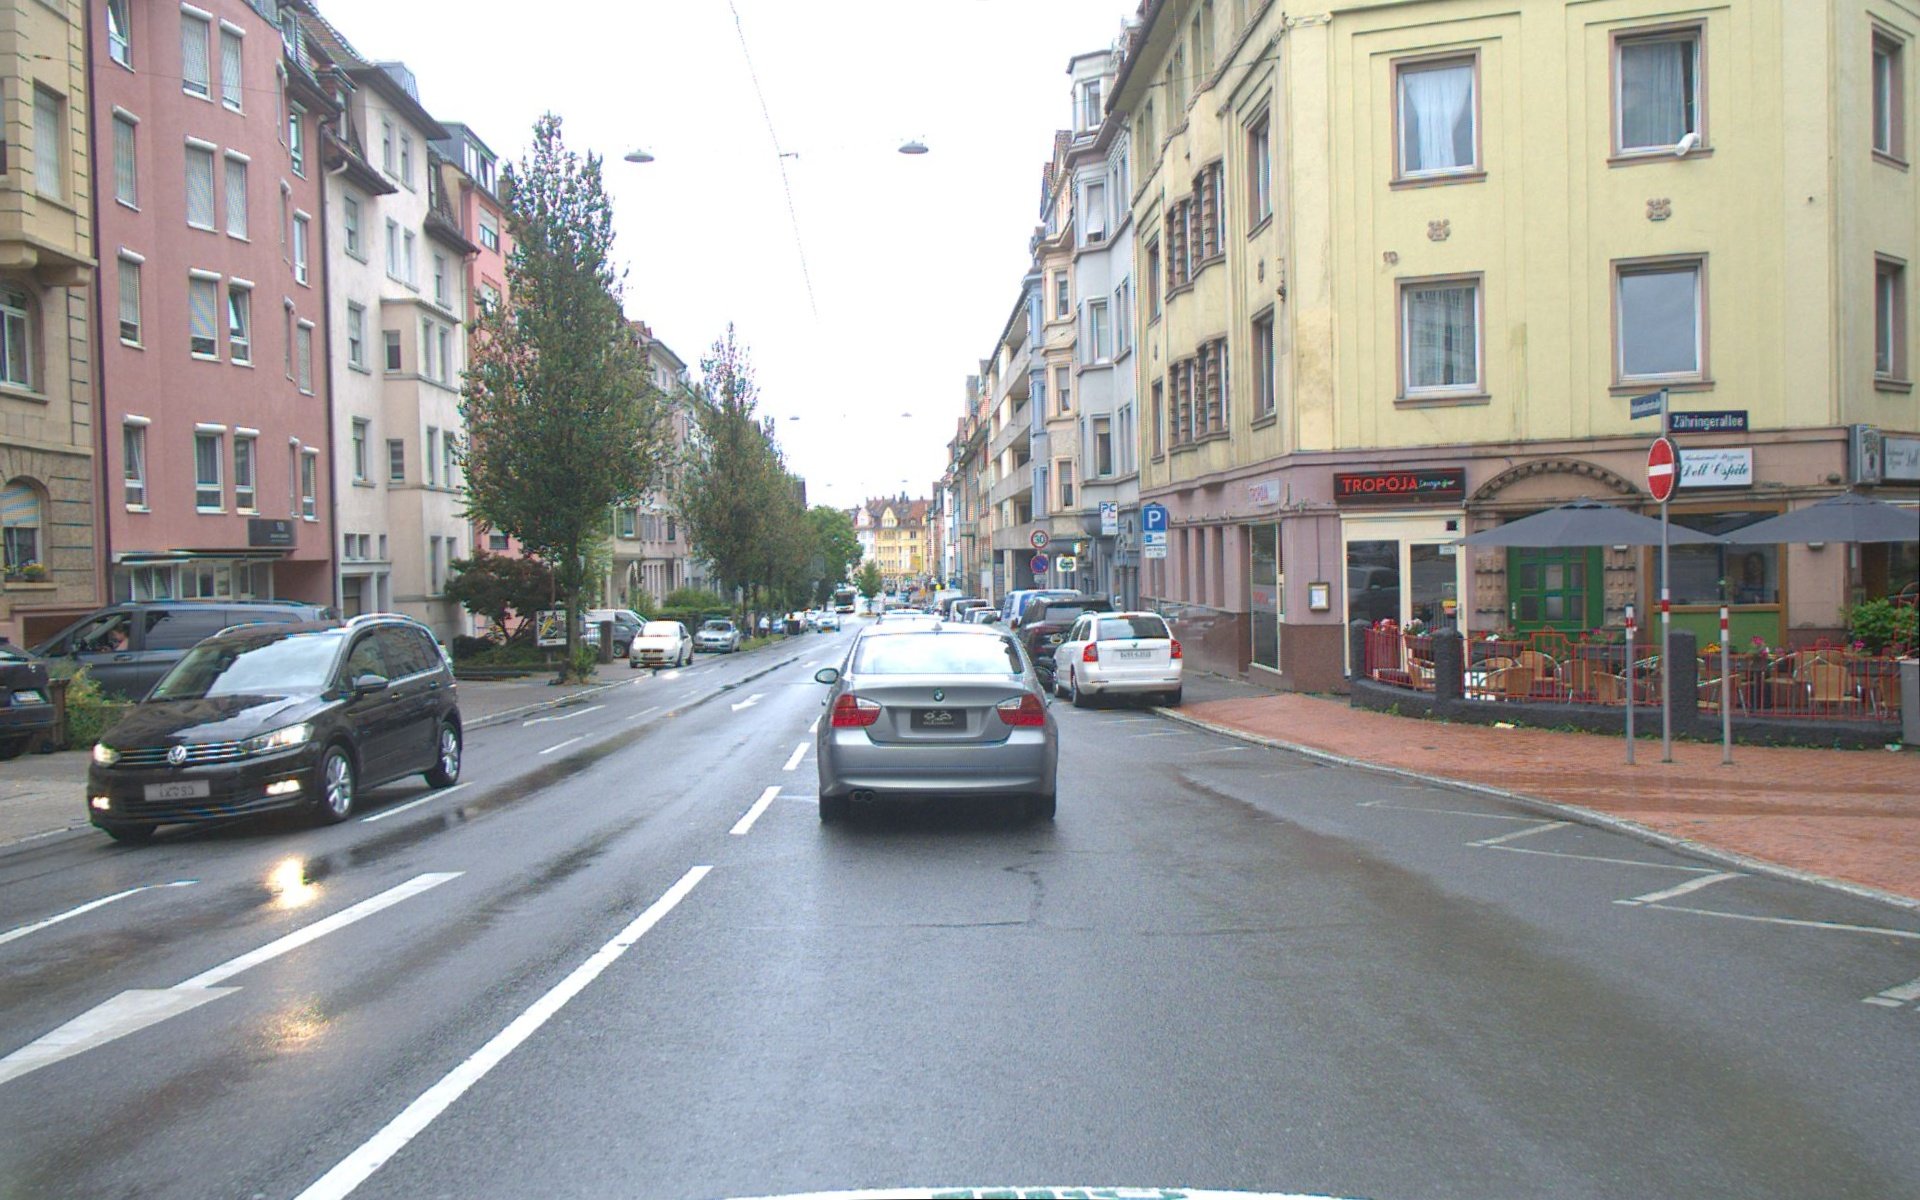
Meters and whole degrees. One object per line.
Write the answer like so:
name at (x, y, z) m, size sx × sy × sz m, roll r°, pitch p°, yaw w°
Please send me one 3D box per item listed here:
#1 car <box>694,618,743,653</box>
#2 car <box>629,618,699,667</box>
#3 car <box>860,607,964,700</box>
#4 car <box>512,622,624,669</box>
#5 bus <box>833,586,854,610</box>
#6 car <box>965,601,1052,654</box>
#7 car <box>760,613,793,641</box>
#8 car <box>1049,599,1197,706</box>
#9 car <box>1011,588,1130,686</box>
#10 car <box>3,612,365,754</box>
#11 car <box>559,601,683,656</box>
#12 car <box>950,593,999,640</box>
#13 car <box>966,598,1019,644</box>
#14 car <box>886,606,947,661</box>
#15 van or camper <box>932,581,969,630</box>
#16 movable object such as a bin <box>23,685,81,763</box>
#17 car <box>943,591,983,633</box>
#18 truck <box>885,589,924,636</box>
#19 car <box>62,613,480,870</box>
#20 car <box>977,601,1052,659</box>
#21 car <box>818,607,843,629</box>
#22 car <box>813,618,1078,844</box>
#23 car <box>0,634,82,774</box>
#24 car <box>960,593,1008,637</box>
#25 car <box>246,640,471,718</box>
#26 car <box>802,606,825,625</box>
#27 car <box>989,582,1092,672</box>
car at (-10.855, 1.576, 74.453) m, size 1.691 × 1.510 × 3.987 m, roll 0°, pitch -1°, yaw -1°
car at (-9.777, 1.381, 54.866) m, size 1.588 × 1.471 × 4.004 m, roll -3°, pitch 0°, yaw -1°
car at (-0.797, 0.875, 28.285) m, size 1.647 × 1.453 × 3.740 m, roll -1°, pitch -1°, yaw -1°
car at (-14.397, 1.656, 60.918) m, size 3.811 × 1.482 × 1.788 m, roll -3°, pitch 0°, yaw -10°
bus at (-16.312, -0.231, 232.067) m, size 2.615 × 3.076 × 7.666 m, roll -3°, pitch 0°, yaw -2°
car at (1.408, 0.813, 50.026) m, size 1.840 × 1.493 × 4.765 m, roll -1°, pitch -1°, yaw -8°
car at (-11.422, 1.664, 103.024) m, size 1.732 × 1.621 × 3.997 m, roll -4°, pitch 0°, yaw -3°
car at (2.590, 0.809, 27.270) m, size 1.763 × 1.592 × 4.489 m, roll -1°, pitch 0°, yaw -3°
car at (2.101, 0.690, 32.584) m, size 1.841 × 1.762 × 4.674 m, roll -1°, pitch 0°, yaw -2°
car at (-11.535, 1.187, 24.913) m, size 4.592 × 1.972 × 1.858 m, roll 0°, pitch 0°, yaw -12°
car at (-14.146, 1.186, 69.228) m, size 4.732 × 2.008 × 2.047 m, roll -3°, pitch 0°, yaw -3°
car at (0.651, 0.758, 76.932) m, size 1.942 × 2.042 × 4.623 m, roll -3°, pitch 0°, yaw -2°
car at (1.081, 0.707, 56.731) m, size 1.579 × 1.500 × 4.013 m, roll -1°, pitch 0°, yaw -2°
car at (-1.248, 0.954, 47.530) m, size 1.663 × 1.509 × 3.792 m, roll -1°, pitch -1°, yaw -2°
van or camper at (-0.548, 0.340, 102.101) m, size 1.991 × 2.919 × 6.886 m, roll 1°, pitch 0°, yaw 1°
movable object such as a bin at (-11.724, 1.600, 21.362) m, size 0.494 × 0.967 × 0.441 m, roll -1°, pitch -1°, yaw 3°
car at (0.137, 0.662, 91.691) m, size 1.942 × 2.203 × 4.747 m, roll -3°, pitch 0°, yaw -2°
truck at (-2.980, 0.682, 88.259) m, size 1.991 × 2.455 × 4.824 m, roll -1°, pitch -1°, yaw -3°
car at (-5.568, 1.031, 14.040) m, size 1.588 × 1.677 × 4.419 m, roll -5°, pitch 0°, yaw 0°
car at (1.376, 0.758, 43.329) m, size 1.644 × 1.399 × 4.274 m, roll -1°, pitch 0°, yaw -2°
car at (-9.720, 1.341, 124.228) m, size 1.603 × 1.534 × 3.753 m, roll -5°, pitch 0°, yaw -2°
car at (-0.154, 0.885, 12.799) m, size 1.733 × 1.453 × 3.739 m, roll -1°, pitch -1°, yaw -2°
car at (-12.915, 1.247, 19.498) m, size 4.064 × 1.537 × 1.872 m, roll -2°, pitch 0°, yaw -2°
car at (0.983, 0.626, 70.090) m, size 1.692 × 1.699 × 4.286 m, roll -4°, pitch 0°, yaw -2°
car at (-13.800, 1.799, 38.128) m, size 4.457 × 1.425 × 1.767 m, roll -3°, pitch 0°, yaw -3°
car at (-12.835, 1.351, 144.879) m, size 1.657 × 1.550 × 3.735 m, roll -4°, pitch 0°, yaw -1°
car at (1.812, 0.613, 38.641) m, size 1.881 × 1.859 × 5.007 m, roll -3°, pitch 0°, yaw -2°
